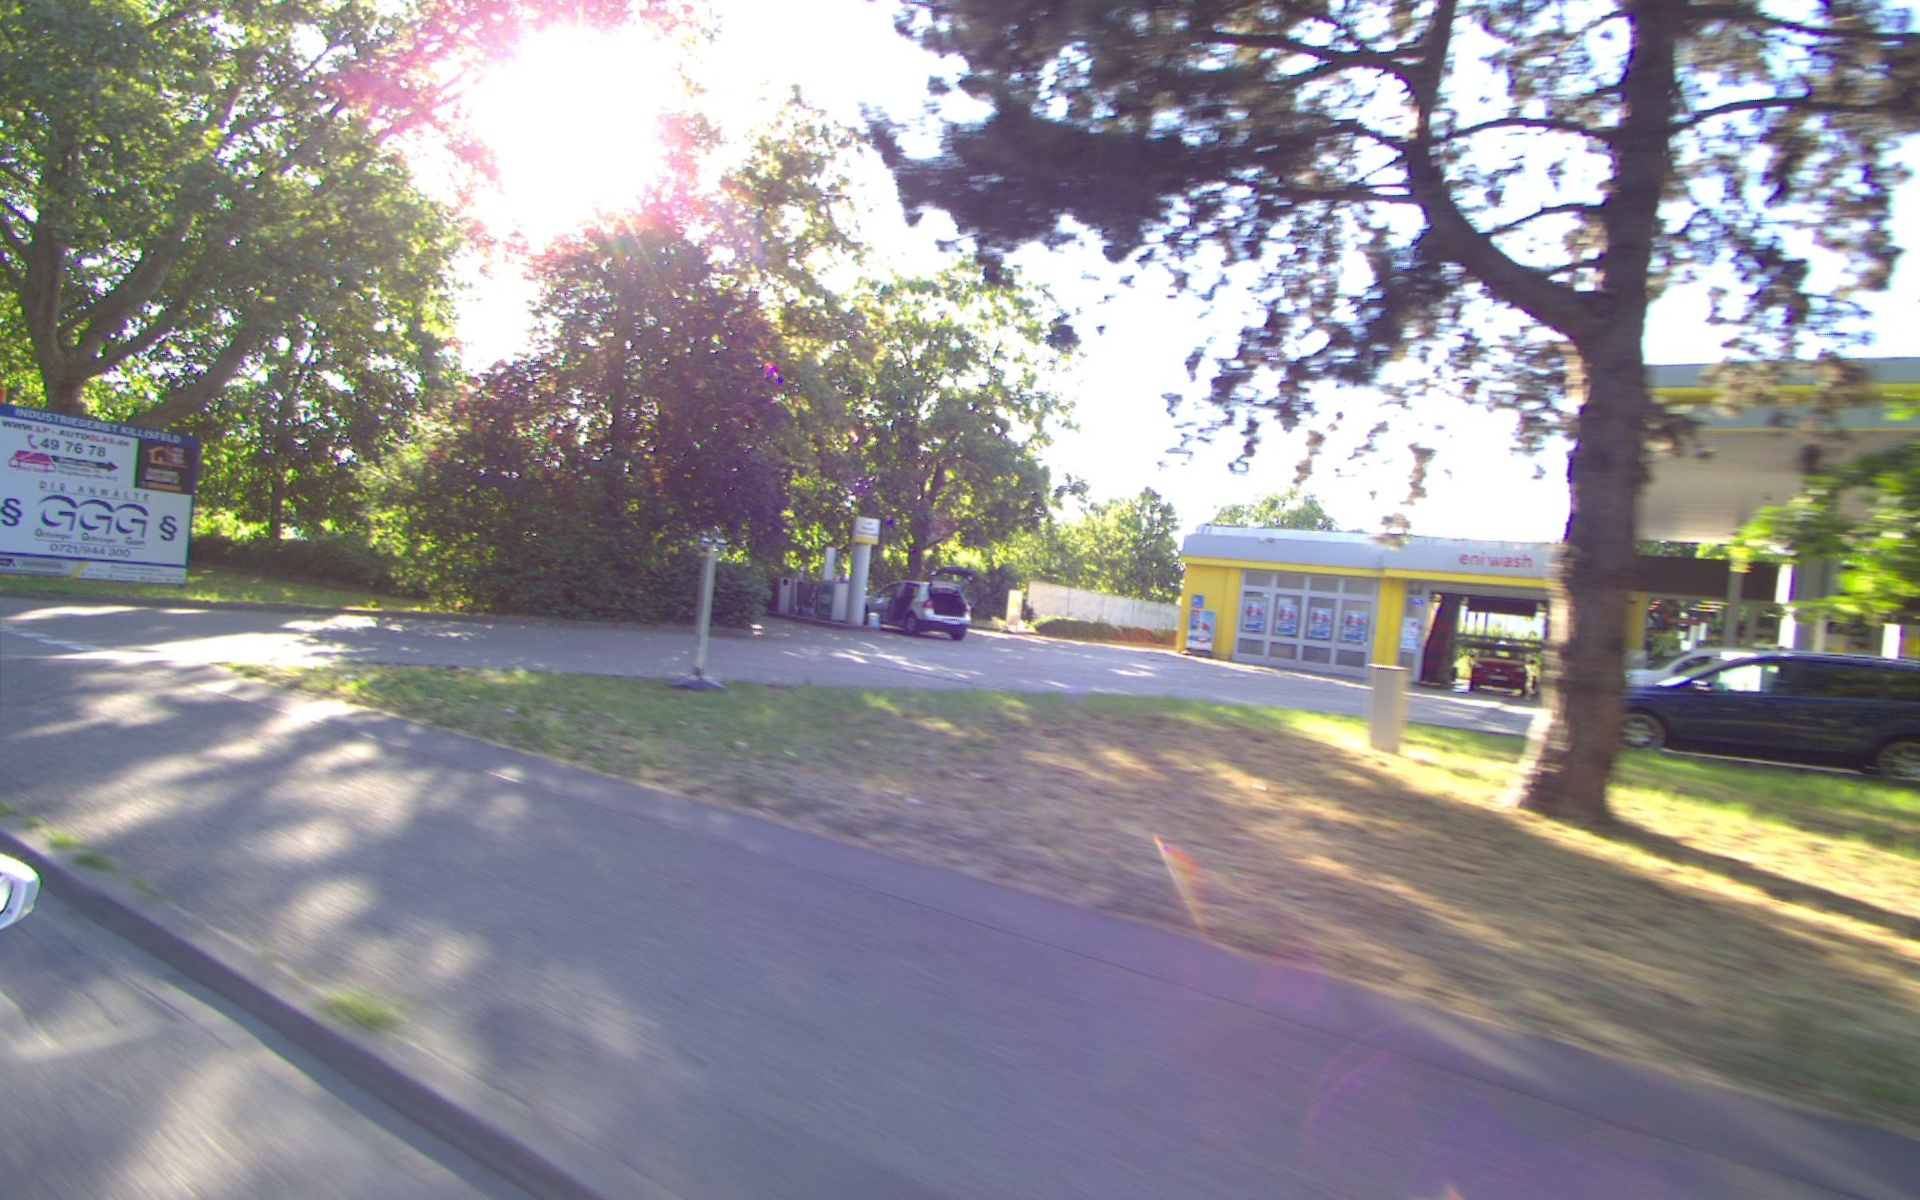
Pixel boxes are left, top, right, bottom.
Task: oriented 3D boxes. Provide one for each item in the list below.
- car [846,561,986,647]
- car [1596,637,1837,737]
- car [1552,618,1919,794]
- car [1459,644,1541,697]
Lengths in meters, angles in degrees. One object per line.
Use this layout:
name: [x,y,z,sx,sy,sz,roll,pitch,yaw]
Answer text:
car: [-1.306,0.072,28.298,1.840,1.962,3.956,5,2,-38]
car: [17.917,2.001,24.112,4.328,1.750,1.812,6,1,34]
car: [10.272,1.303,12.965,4.401,1.668,1.926,6,0,32]
car: [17.141,2.209,31.847,1.856,1.390,3.988,6,0,33]
